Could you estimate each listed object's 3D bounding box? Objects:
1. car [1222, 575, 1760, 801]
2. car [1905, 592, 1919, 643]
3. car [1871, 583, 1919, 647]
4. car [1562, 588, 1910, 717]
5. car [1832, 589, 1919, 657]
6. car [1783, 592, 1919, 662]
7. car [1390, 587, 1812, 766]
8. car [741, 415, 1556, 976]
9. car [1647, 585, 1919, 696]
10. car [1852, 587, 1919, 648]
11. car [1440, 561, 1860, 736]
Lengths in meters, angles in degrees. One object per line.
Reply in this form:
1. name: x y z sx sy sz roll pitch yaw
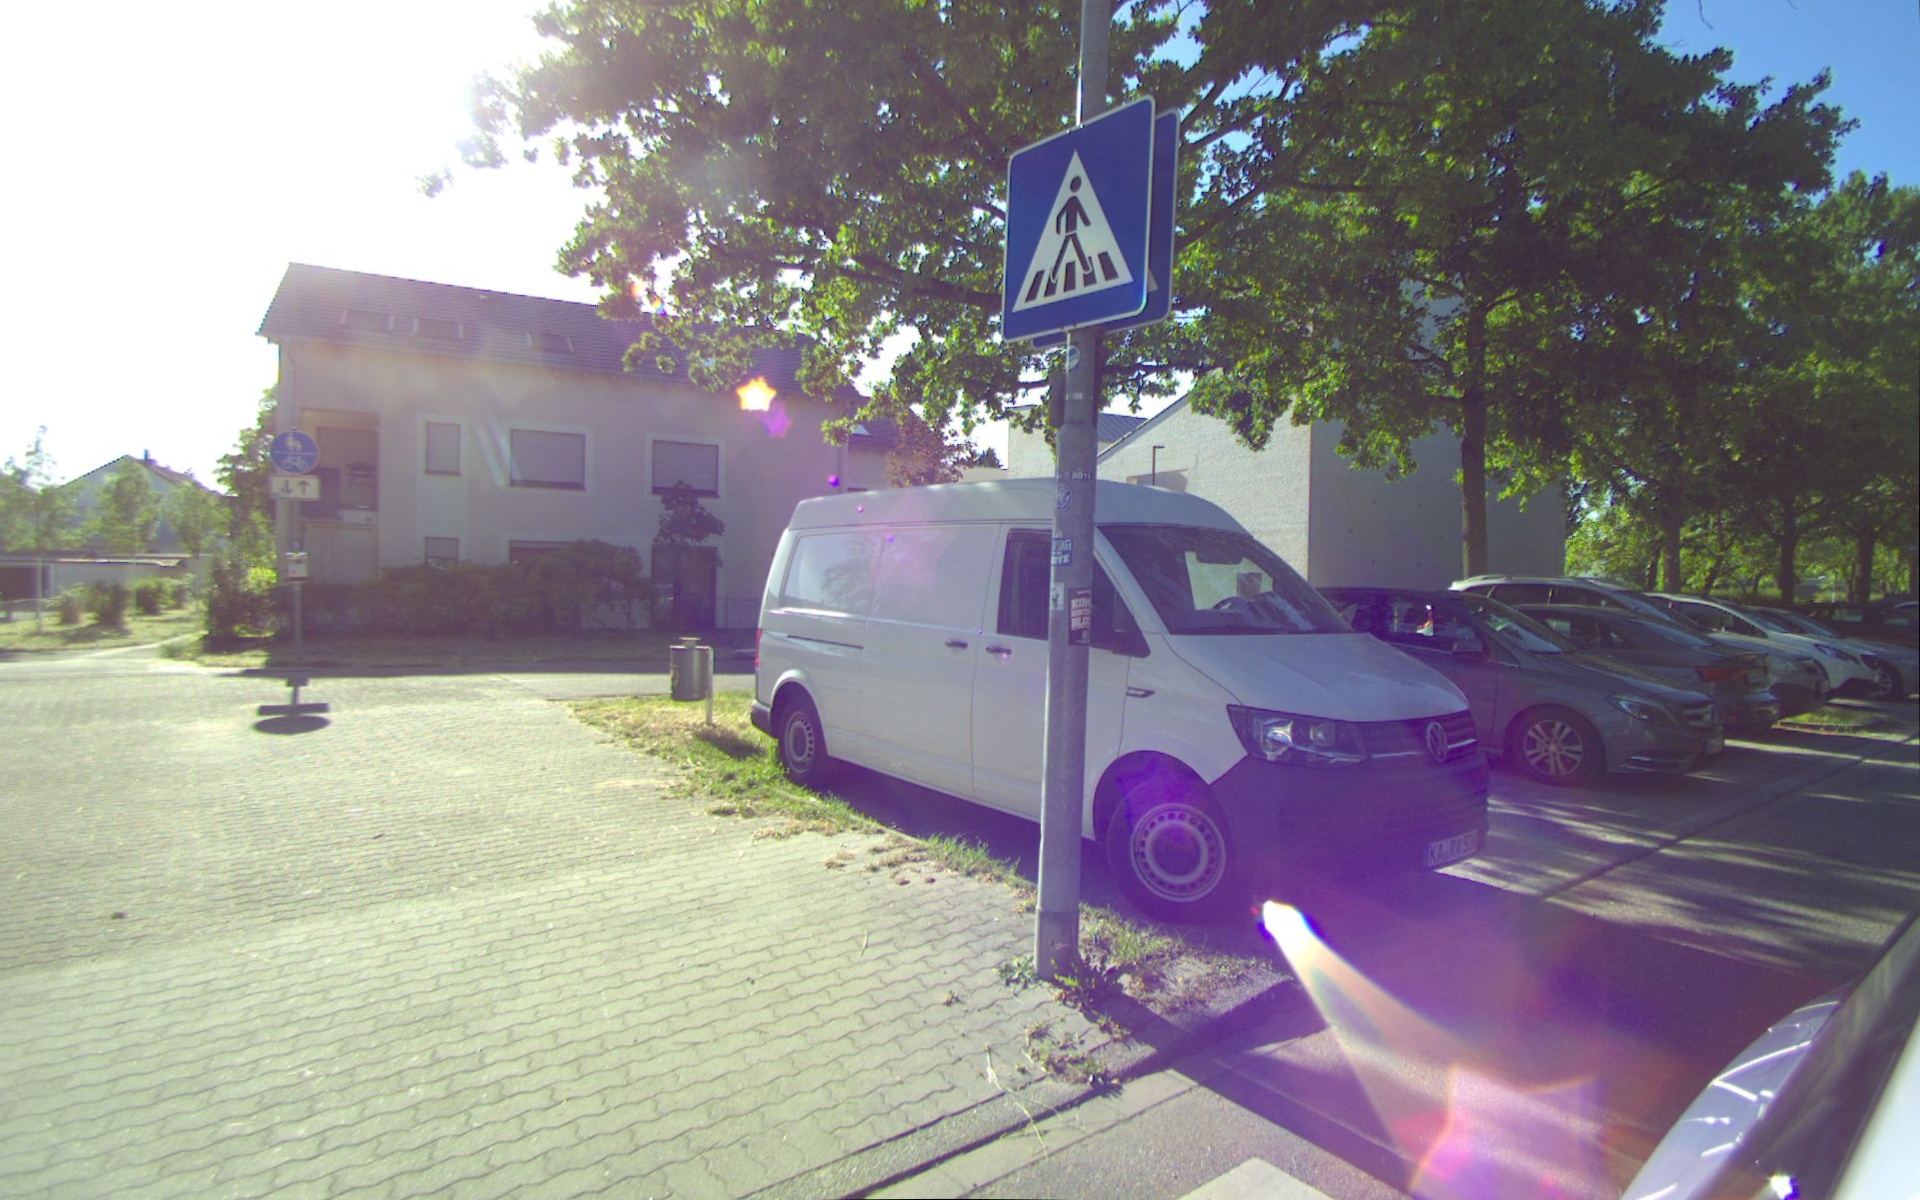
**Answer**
1. car: 4.549 0.586 9.224 1.724 1.582 3.999 1 1 -36
2. car: 34.457 0.632 33.526 1.504 1.765 4.398 1 1 -36
3. car: 31.337 0.490 31.355 1.504 2.013 4.398 1 1 -36
4. car: 11.791 0.685 15.641 1.504 1.700 4.022 1 1 -36
5. car: 25.853 0.621 26.452 1.504 1.765 4.398 1 1 -36
6. car: 23.311 0.657 24.993 1.504 1.662 4.398 1 1 -36
7. car: 6.621 0.661 10.780 1.421 1.561 3.518 1 1 -36
8. car: 0.614 0.269 6.369 1.856 2.107 5.047 1 2 -38
9. car: 14.282 0.596 17.232 1.504 1.680 4.022 1 1 -36
10. car: 28.809 0.526 29.188 1.504 1.765 4.398 1 1 -36
11. car: 8.400 0.473 12.661 1.680 1.816 4.022 1 1 -36
